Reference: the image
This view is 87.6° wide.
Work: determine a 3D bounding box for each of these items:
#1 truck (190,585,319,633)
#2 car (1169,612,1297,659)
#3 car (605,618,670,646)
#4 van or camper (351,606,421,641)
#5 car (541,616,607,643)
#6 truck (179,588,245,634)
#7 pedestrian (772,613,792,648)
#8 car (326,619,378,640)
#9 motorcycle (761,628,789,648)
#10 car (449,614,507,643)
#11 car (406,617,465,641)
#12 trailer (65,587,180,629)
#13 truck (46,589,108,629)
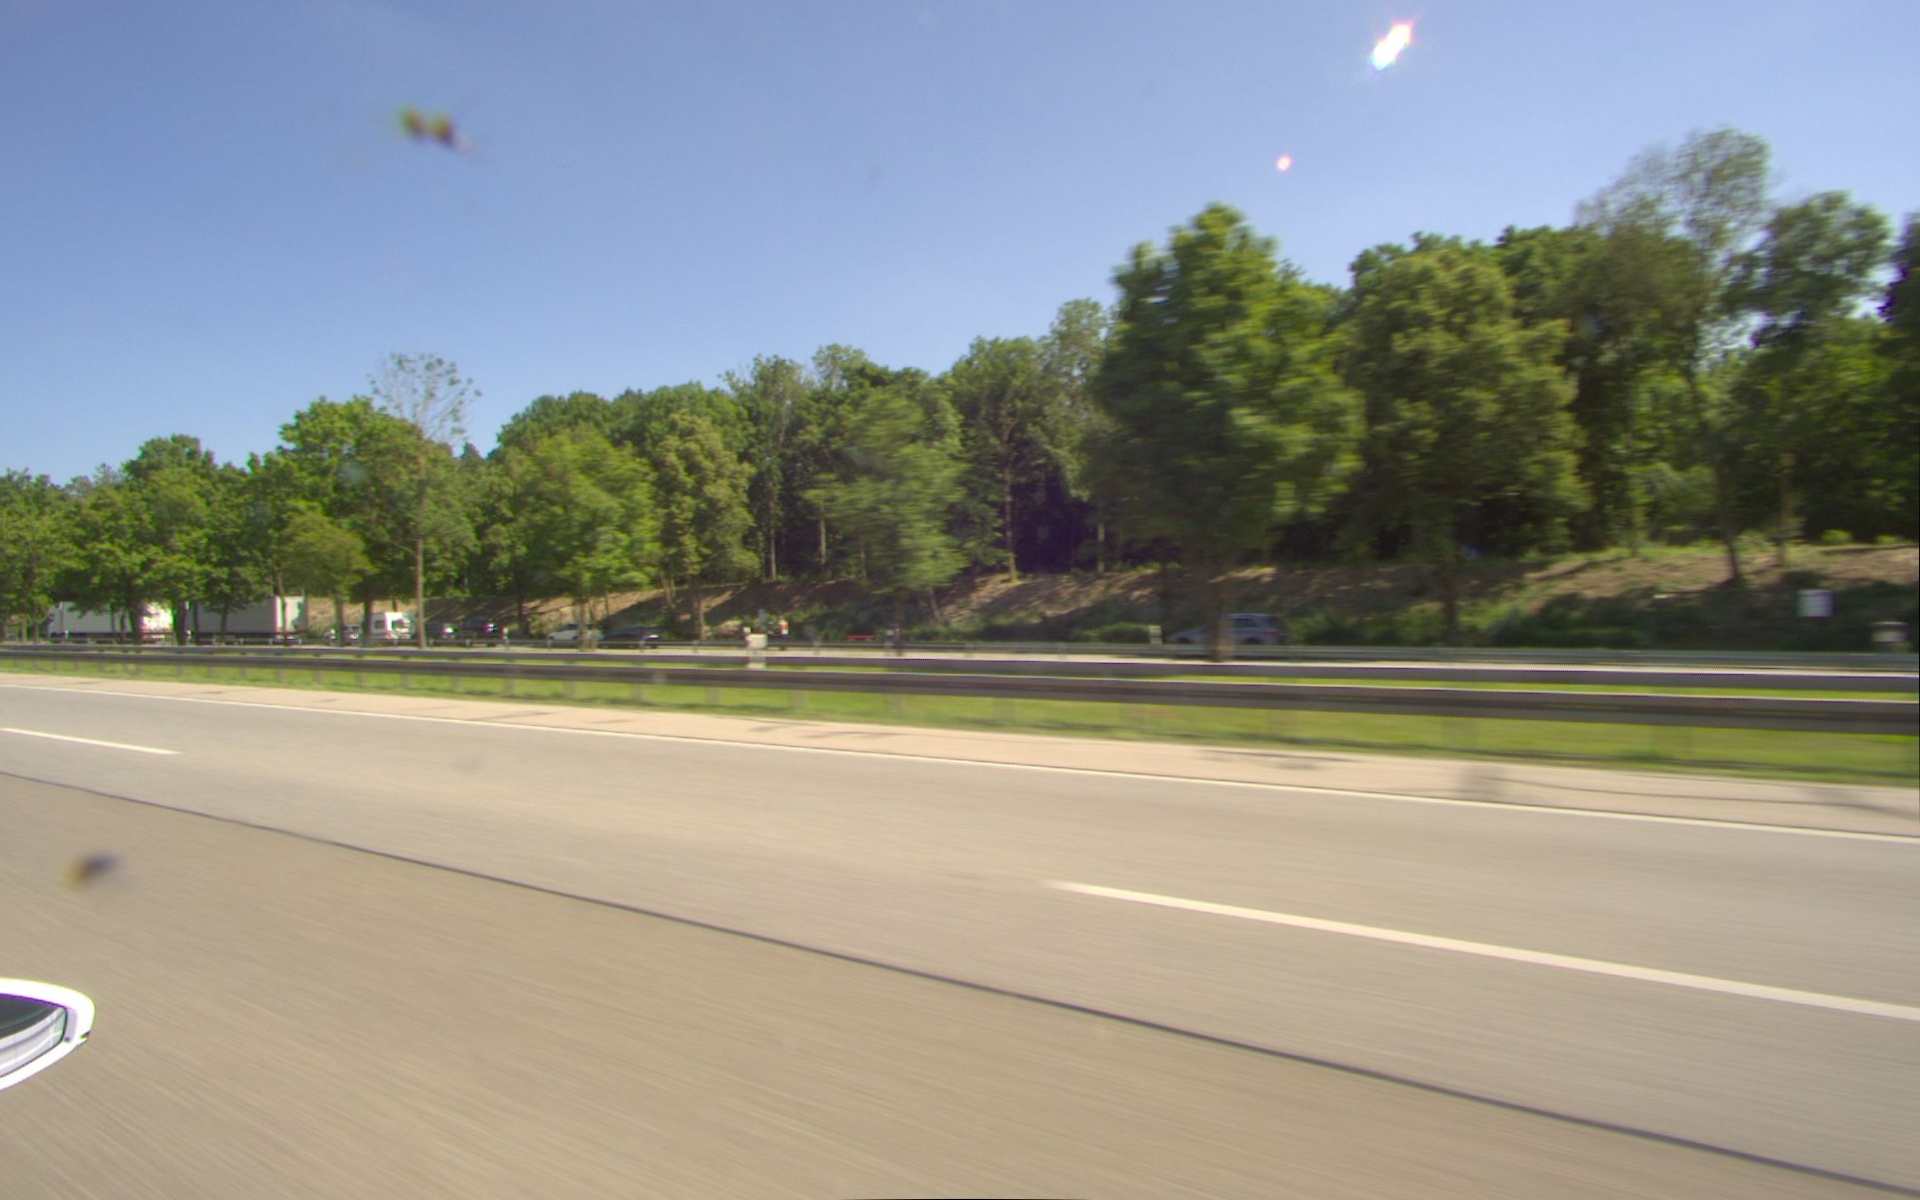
[{"bbox_3d":[-61.112,0.861,86.535,14.235,3.982,2.994,-1,0,28],"label":"truck"},{"bbox_3d":[10.298,1.301,37.960,4.269,1.673,1.983,0,0,41],"label":"car"},{"bbox_3d":[-19.644,1.926,60.950,3.954,1.594,1.984,-1,0,41],"label":"car"},{"bbox_3d":[-43.820,1.795,76.349,5.792,2.564,2.199,-1,0,33],"label":"van or camper"},{"bbox_3d":[-24.923,1.904,64.585,4.587,1.697,1.652,-1,-1,34],"label":"car"},{"bbox_3d":[-66.931,1.003,89.627,4.758,3.982,2.968,-1,0,28],"label":"truck"},{"bbox_3d":[-9.395,1.618,52.944,0.793,1.806,0.636,-1,1,-45],"label":"pedestrian"},{"bbox_3d":[-48.345,2.318,79.620,4.489,1.618,1.653,-1,-1,32],"label":"car"},{"bbox_3d":[-10.086,2.073,54.502,1.652,1.044,0.556,0,0,38],"label":"motorcycle"},{"bbox_3d":[-33.382,1.956,69.314,4.738,1.902,1.650,-1,-1,37],"label":"car"},{"bbox_3d":[-38.061,2.100,72.602,4.429,1.663,1.654,-1,-1,30],"label":"car"},{"bbox_3d":[-80.330,0.825,95.887,13.958,3.846,2.858,-1,-1,25],"label":"trailer"},{"bbox_3d":[-87.521,0.939,99.244,5.062,3.846,2.809,-1,0,25],"label":"truck"}]
